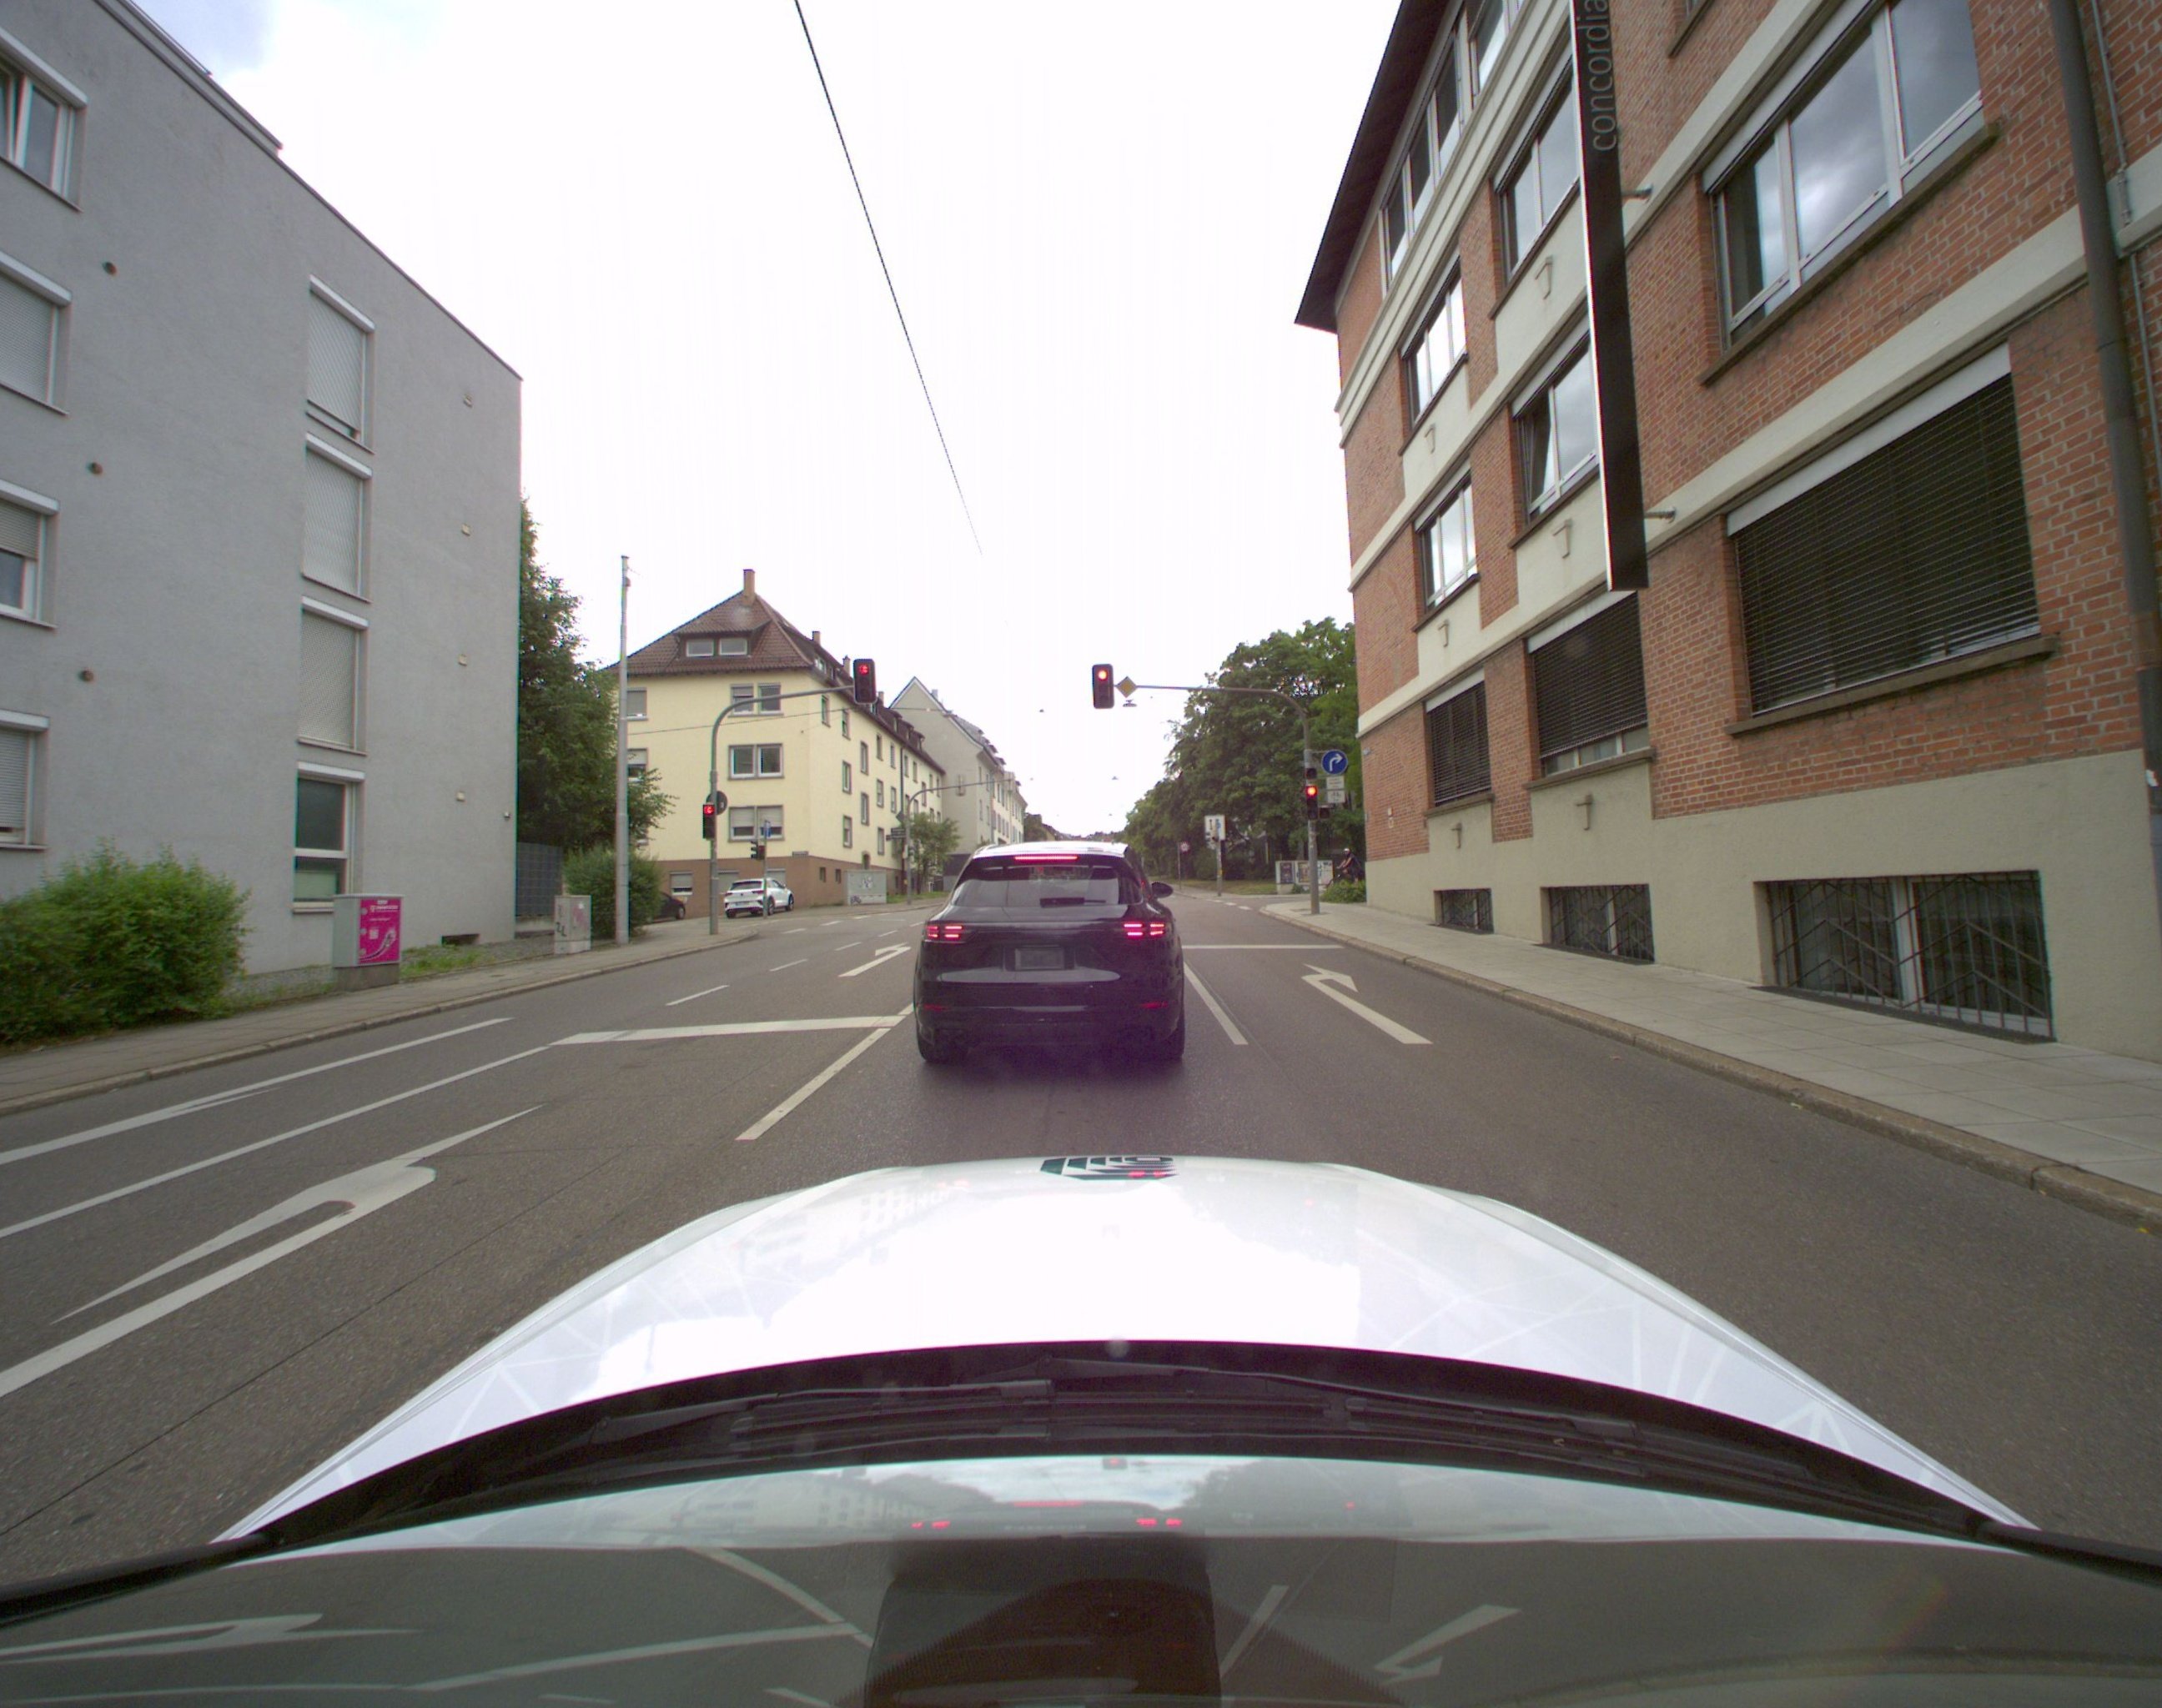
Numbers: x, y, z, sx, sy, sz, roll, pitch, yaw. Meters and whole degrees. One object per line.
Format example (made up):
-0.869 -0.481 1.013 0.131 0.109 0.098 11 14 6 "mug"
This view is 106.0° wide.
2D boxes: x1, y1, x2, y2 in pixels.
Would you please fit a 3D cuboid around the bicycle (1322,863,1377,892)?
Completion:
10.427 0.904 31.637 1.905 1.081 0.701 0 -1 -10 "bicycle"

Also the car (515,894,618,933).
-21.397 2.440 34.086 1.663 1.362 4.001 -1 -1 2 "car"

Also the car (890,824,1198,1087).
-0.180 0.674 7.286 1.986 1.697 4.001 0 -1 2 "car"

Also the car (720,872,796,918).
-13.538 1.673 34.406 1.666 1.662 3.996 -4 0 -3 "car"

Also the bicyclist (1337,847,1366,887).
10.514 0.514 31.666 0.809 1.519 0.704 0 -1 -9 "bicyclist"

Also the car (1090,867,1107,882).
1.797 2.142 85.356 1.683 1.552 3.888 0 -1 0 "car"

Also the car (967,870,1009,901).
-5.176 1.735 45.738 1.657 1.519 3.742 -5 -1 2 "car"

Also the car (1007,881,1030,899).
-5.344 3.086 69.977 1.665 1.362 3.998 -1 -1 -1 "car"

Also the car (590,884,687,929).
-18.564 2.155 34.380 1.664 1.546 4.103 -5 -1 2 "car"
